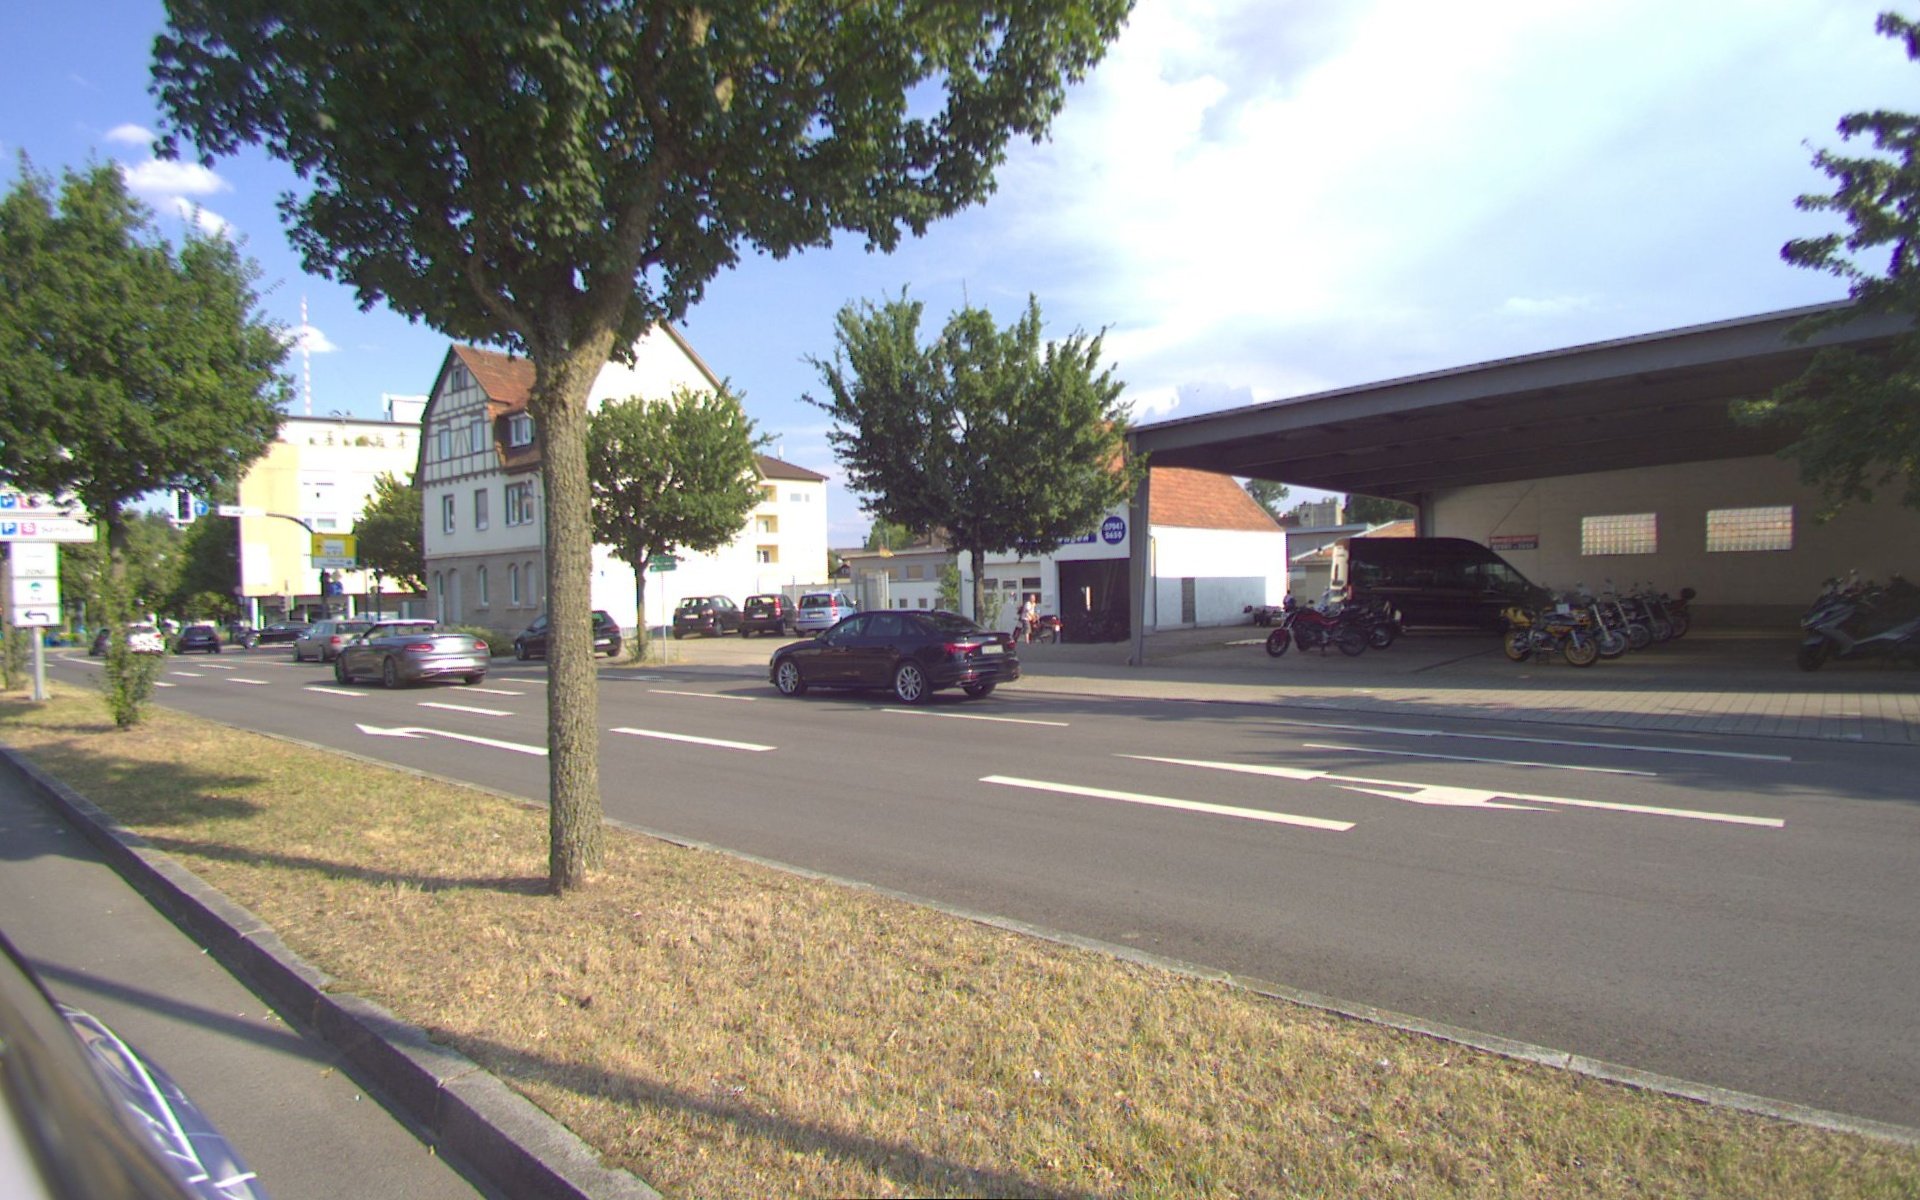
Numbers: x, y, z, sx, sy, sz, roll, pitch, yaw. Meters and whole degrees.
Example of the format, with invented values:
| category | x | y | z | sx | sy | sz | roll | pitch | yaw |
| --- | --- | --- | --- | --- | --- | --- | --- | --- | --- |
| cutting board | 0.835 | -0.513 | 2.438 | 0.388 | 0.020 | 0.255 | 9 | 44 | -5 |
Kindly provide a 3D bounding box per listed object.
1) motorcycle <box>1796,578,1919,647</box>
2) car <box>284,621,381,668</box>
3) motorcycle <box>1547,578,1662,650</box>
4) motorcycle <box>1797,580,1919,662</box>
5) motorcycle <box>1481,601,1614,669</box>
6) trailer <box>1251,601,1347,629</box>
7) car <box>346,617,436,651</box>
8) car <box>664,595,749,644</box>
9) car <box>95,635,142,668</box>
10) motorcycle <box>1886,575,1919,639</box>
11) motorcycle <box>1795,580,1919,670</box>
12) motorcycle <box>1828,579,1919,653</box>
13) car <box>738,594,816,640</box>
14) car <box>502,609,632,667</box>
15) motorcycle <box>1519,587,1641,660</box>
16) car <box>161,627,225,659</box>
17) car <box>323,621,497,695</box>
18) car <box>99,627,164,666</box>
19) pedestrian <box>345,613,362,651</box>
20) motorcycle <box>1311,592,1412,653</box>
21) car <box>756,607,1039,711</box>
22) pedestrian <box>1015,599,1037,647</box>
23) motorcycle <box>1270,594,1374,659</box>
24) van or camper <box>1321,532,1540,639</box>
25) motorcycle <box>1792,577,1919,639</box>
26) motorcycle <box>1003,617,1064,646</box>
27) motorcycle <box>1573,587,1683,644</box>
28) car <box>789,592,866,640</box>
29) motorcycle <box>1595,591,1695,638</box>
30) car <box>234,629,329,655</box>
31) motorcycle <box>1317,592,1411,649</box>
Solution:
| category | x | y | z | sx | sy | sz | roll | pitch | yaw |
| --- | --- | --- | --- | --- | --- | --- | --- | --- | --- |
| motorcycle | 17.932 | 0.247 | 20.033 | 2.068 | 1.317 | 0.581 | -1 | 0 | 12 |
| car | -21.634 | 1.470 | 34.836 | 4.712 | 1.473 | 1.668 | -1 | 0 | 43 |
| motorcycle | 13.790 | 0.297 | 21.726 | 0.584 | 1.459 | 2.161 | -1 | 0 | -19 |
| motorcycle | 15.265 | 0.343 | 16.786 | 2.068 | 1.317 | 0.561 | -1 | 0 | 12 |
| motorcycle | 10.470 | 0.606 | 18.144 | 0.620 | 1.132 | 2.161 | -1 | 0 | -19 |
| trailer | 12.505 | 0.536 | 37.257 | 2.449 | 0.831 | 3.152 | -1 | 2 | 38 |
| car | -34.245 | 2.015 | 61.031 | 1.812 | 1.938 | 4.920 | -1 | 0 | 15 |
| car | -9.385 | 0.686 | 37.757 | 1.747 | 1.563 | 3.992 | -2 | 1 | 7 |
| car | -42.192 | 2.540 | 50.792 | 1.747 | 1.462 | 4.115 | -1 | -1 | -39 |
| motorcycle | 20.662 | 0.122 | 21.026 | 2.068 | 1.317 | 0.561 | -1 | 0 | 12 |
| motorcycle | 13.882 | 0.364 | 15.132 | 2.093 | 1.317 | 0.561 | -1 | 0 | 12 |
| motorcycle | 17.092 | 0.281 | 18.277 | 2.068 | 1.317 | 0.621 | -1 | 0 | 12 |
| car | -6.695 | 0.601 | 37.370 | 1.746 | 1.564 | 3.992 | -1 | 0 | 7 |
| car | -11.743 | 1.096 | 30.123 | 4.193 | 1.454 | 1.816 | -1 | 3 | 41 |
| motorcycle | 12.088 | 0.442 | 19.820 | 0.553 | 1.340 | 2.161 | -1 | 0 | -19 |
| car | -38.730 | 2.146 | 51.042 | 4.244 | 1.508 | 1.788 | -1 | 0 | 42 |
| car | -11.635 | 1.153 | 21.281 | 4.476 | 1.359 | 1.762 | -1 | 0 | 41 |
| car | -35.385 | 1.958 | 43.184 | 1.780 | 1.508 | 3.957 | -1 | 0 | -45 |
| pedestrian | -32.371 | 1.716 | 54.017 | 0.688 | 1.997 | 0.590 | -1 | 0 | -26 |
| motorcycle | 9.013 | 0.501 | 22.775 | 1.982 | 1.321 | 0.649 | -1 | 0 | 5 |
| car | -1.125 | 0.870 | 16.387 | 4.642 | 1.432 | 1.824 | -1 | 0 | 41 |
| pedestrian | 2.132 | 0.726 | 32.850 | 0.644 | 1.535 | 0.673 | -1 | 0 | 2 |
| motorcycle | 7.544 | 0.546 | 21.191 | 1.991 | 1.321 | 0.665 | -1 | 0 | 18 |
| van or camper | 12.689 | -0.366 | 27.616 | 4.979 | 2.700 | 1.995 | -1 | 0 | 8 |
| motorcycle | 19.902 | 0.177 | 22.530 | 2.068 | 1.317 | 0.561 | -1 | 0 | 12 |
| motorcycle | 2.393 | 1.035 | 33.358 | 2.212 | 0.927 | 0.500 | -1 | 0 | 45 |
| motorcycle | 15.465 | 0.354 | 23.496 | 0.636 | 1.268 | 2.161 | -1 | 0 | -19 |
| car | -4.614 | 0.547 | 35.738 | 1.746 | 1.564 | 3.992 | -1 | 0 | 7 |
| motorcycle | 17.166 | 0.359 | 25.438 | 0.553 | 1.131 | 2.161 | -1 | 0 | -19 |
| car | -40.984 | 2.532 | 61.212 | 4.594 | 1.364 | 1.770 | -1 | 0 | -41 |
| motorcycle | 9.780 | 0.493 | 24.555 | 1.982 | 1.321 | 0.649 | -1 | 0 | 5 |
